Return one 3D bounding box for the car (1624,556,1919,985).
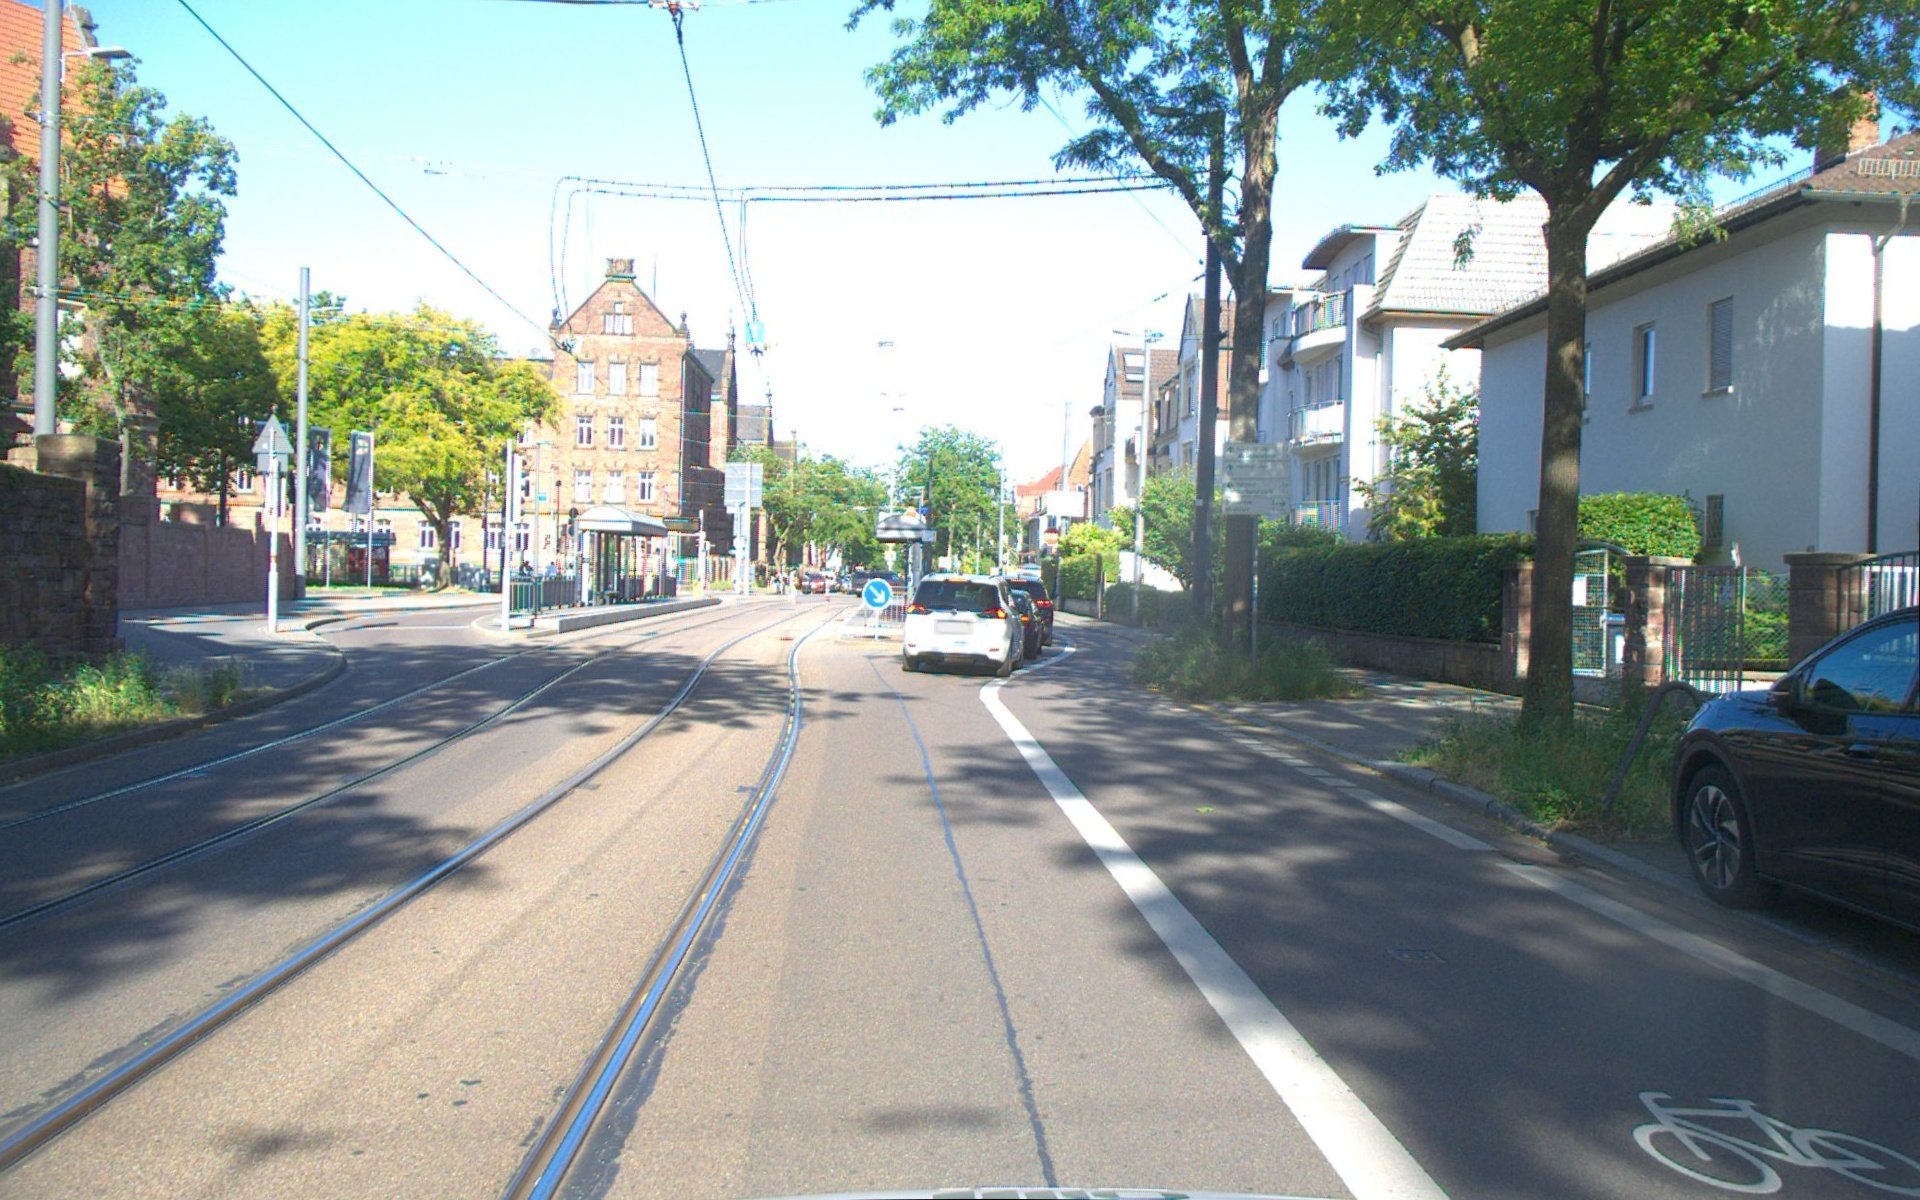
[{"bbox_3d":[4.794,0.679,7.258,1.767,1.723,4.728,-2,1,-1],"label":"car"}]

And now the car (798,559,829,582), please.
[{"bbox_3d":[-11.885,-2.386,134.622,1.952,1.752,4.002,1,1,3],"label":"car"}]

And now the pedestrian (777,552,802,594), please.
[{"bbox_3d":[-8.416,-1.354,81.669,1.132,2.048,1.119,0,1,-1],"label":"pedestrian"}]

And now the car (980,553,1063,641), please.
[{"bbox_3d":[1.577,-0.106,41.350,1.672,2.049,3.910,1,1,8],"label":"car"}]

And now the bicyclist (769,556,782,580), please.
[{"bbox_3d":[-13.799,-2.412,123.791,0.924,1.764,0.861,1,1,-2],"label":"bicyclist"}]

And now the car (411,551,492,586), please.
[{"bbox_3d":[-28.034,-1.722,91.273,3.910,1.821,1.998,1,1,-6],"label":"car"}]

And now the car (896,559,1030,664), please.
[{"bbox_3d":[0.138,0.217,28.552,1.852,1.639,4.231,1,-1,6],"label":"car"}]

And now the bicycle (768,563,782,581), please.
[{"bbox_3d":[-13.807,-2.076,123.506,0.805,1.319,2.676,1,1,-3],"label":"bicycle"}]

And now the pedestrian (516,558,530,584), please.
[{"bbox_3d":[-22.134,-1.466,83.818,0.547,1.281,0.530,1,1,-3],"label":"pedestrian"}]

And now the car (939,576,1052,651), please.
[{"bbox_3d":[0.812,0.248,35.215,1.951,1.467,4.003,1,1,7],"label":"car"}]
